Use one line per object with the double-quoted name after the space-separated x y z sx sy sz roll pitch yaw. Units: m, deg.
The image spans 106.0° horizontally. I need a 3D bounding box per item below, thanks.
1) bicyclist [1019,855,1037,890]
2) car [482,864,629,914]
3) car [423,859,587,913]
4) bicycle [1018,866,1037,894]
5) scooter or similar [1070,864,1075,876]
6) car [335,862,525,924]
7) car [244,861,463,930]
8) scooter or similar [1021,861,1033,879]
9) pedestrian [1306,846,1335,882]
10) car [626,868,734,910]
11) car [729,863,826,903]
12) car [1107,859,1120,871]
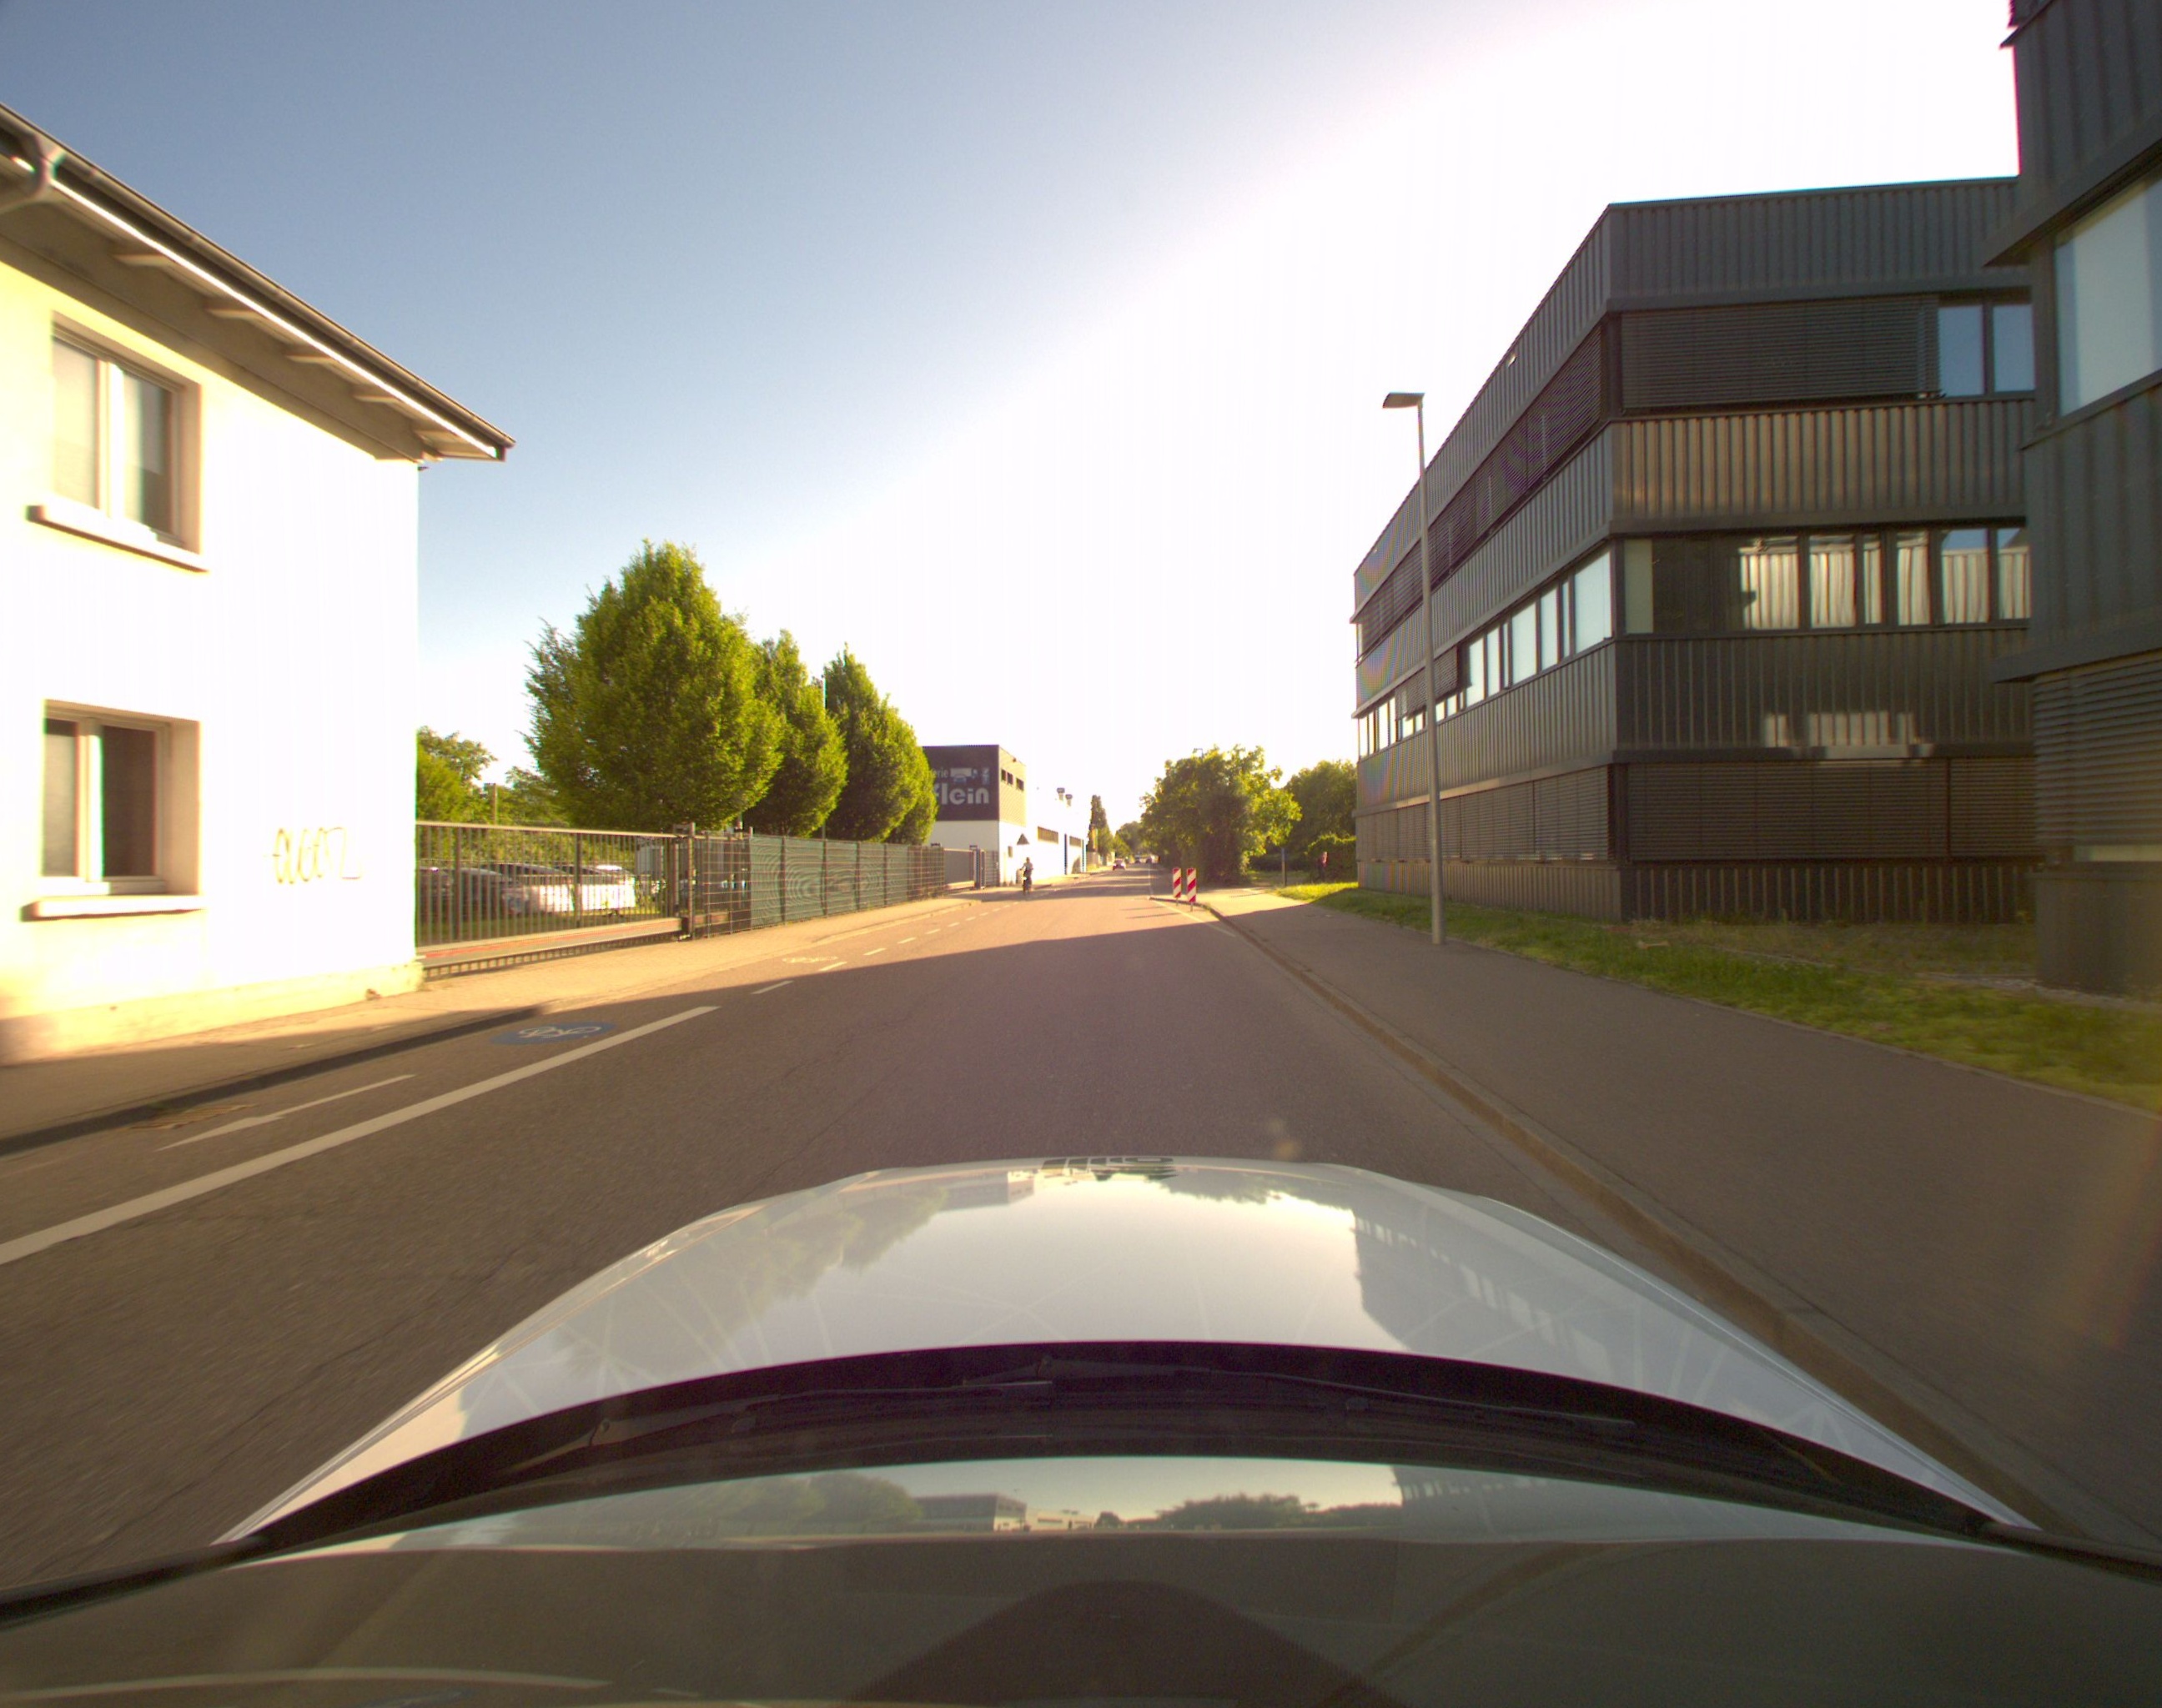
-2.524 0.886 39.097 0.743 1.628 0.834 -1 -1 3 "bicyclist"
-18.536 1.219 28.824 3.968 1.540 1.878 -2 0 5 "car"
-18.431 1.000 26.177 3.968 1.540 1.878 -2 0 5 "car"
-2.562 1.237 39.158 0.664 1.288 2.174 -1 0 3 "bicycle"
-0.958 1.752 88.947 0.414 1.267 1.061 -1 0 4 "scooter or similar"
-18.399 1.080 23.131 3.968 1.540 1.878 -2 0 5 "car"
-18.352 1.020 20.659 3.968 1.540 1.878 -2 0 5 "car"
-3.653 1.095 55.273 0.504 1.203 1.756 2 0 5 "scooter or similar"
12.618 0.539 42.972 1.148 1.792 0.896 -4 -1 0 "pedestrian"
-15.554 1.316 31.856 1.984 1.451 4.006 -1 0 5 "car"
-11.836 1.101 32.046 1.984 1.451 4.006 -1 0 5 "car"
4.686 1.557 117.212 1.810 1.489 4.003 -4 -1 3 "car"
